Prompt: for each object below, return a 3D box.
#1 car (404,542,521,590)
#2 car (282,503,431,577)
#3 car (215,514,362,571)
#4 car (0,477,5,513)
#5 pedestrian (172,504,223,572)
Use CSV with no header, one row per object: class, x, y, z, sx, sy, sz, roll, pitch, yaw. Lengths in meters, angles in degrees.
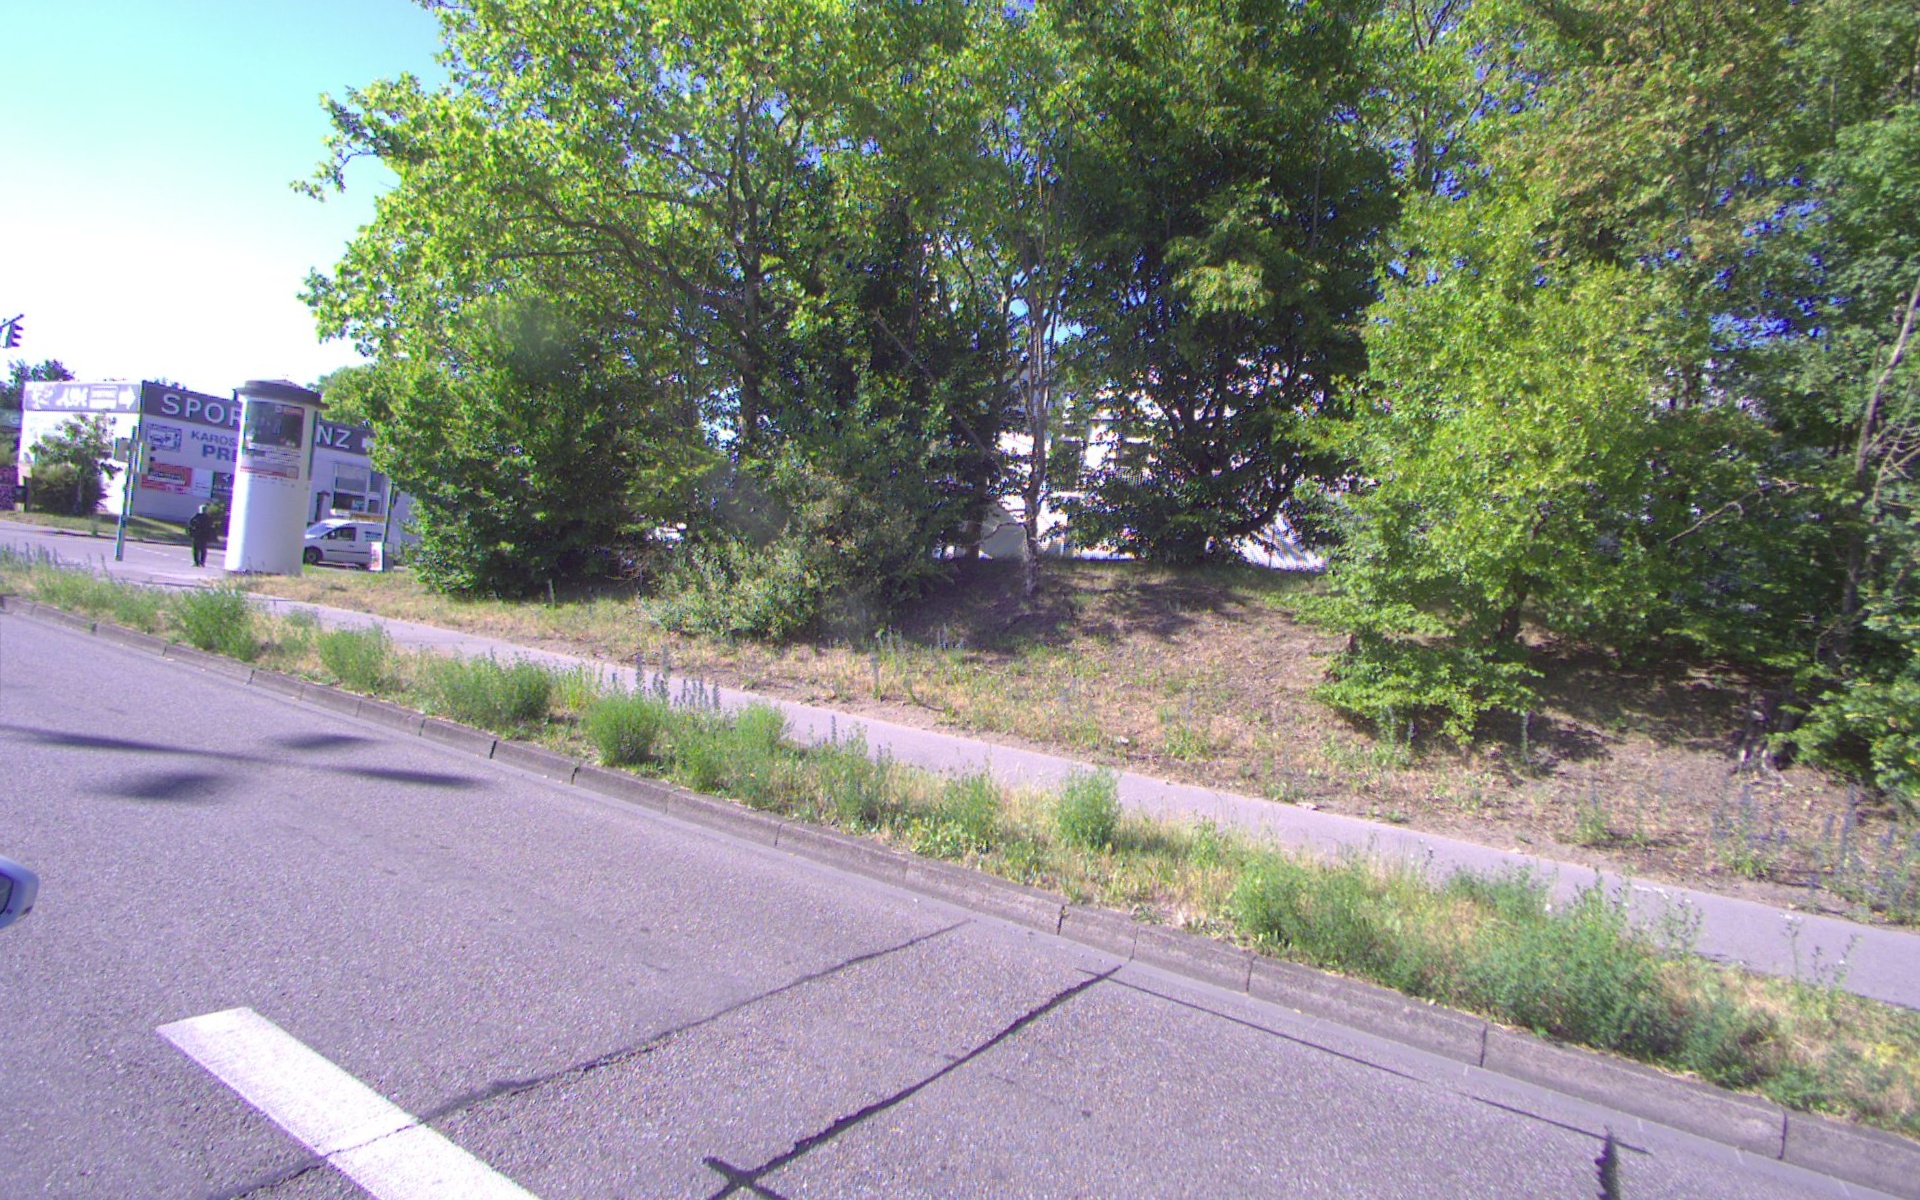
car,-22.939,-1.554,46.586,1.965,1.571,4.415,7,-1,28
car,-23.398,-2.288,39.188,1.965,2.171,4.415,7,-1,28
car,-26.841,-2.283,40.360,1.965,1.571,4.415,7,-1,28
car,-48.298,-5.345,47.700,1.663,1.726,4.003,7,-1,16
pedestrian,-21.211,-1.721,27.979,0.841,1.743,0.822,7,0,39
